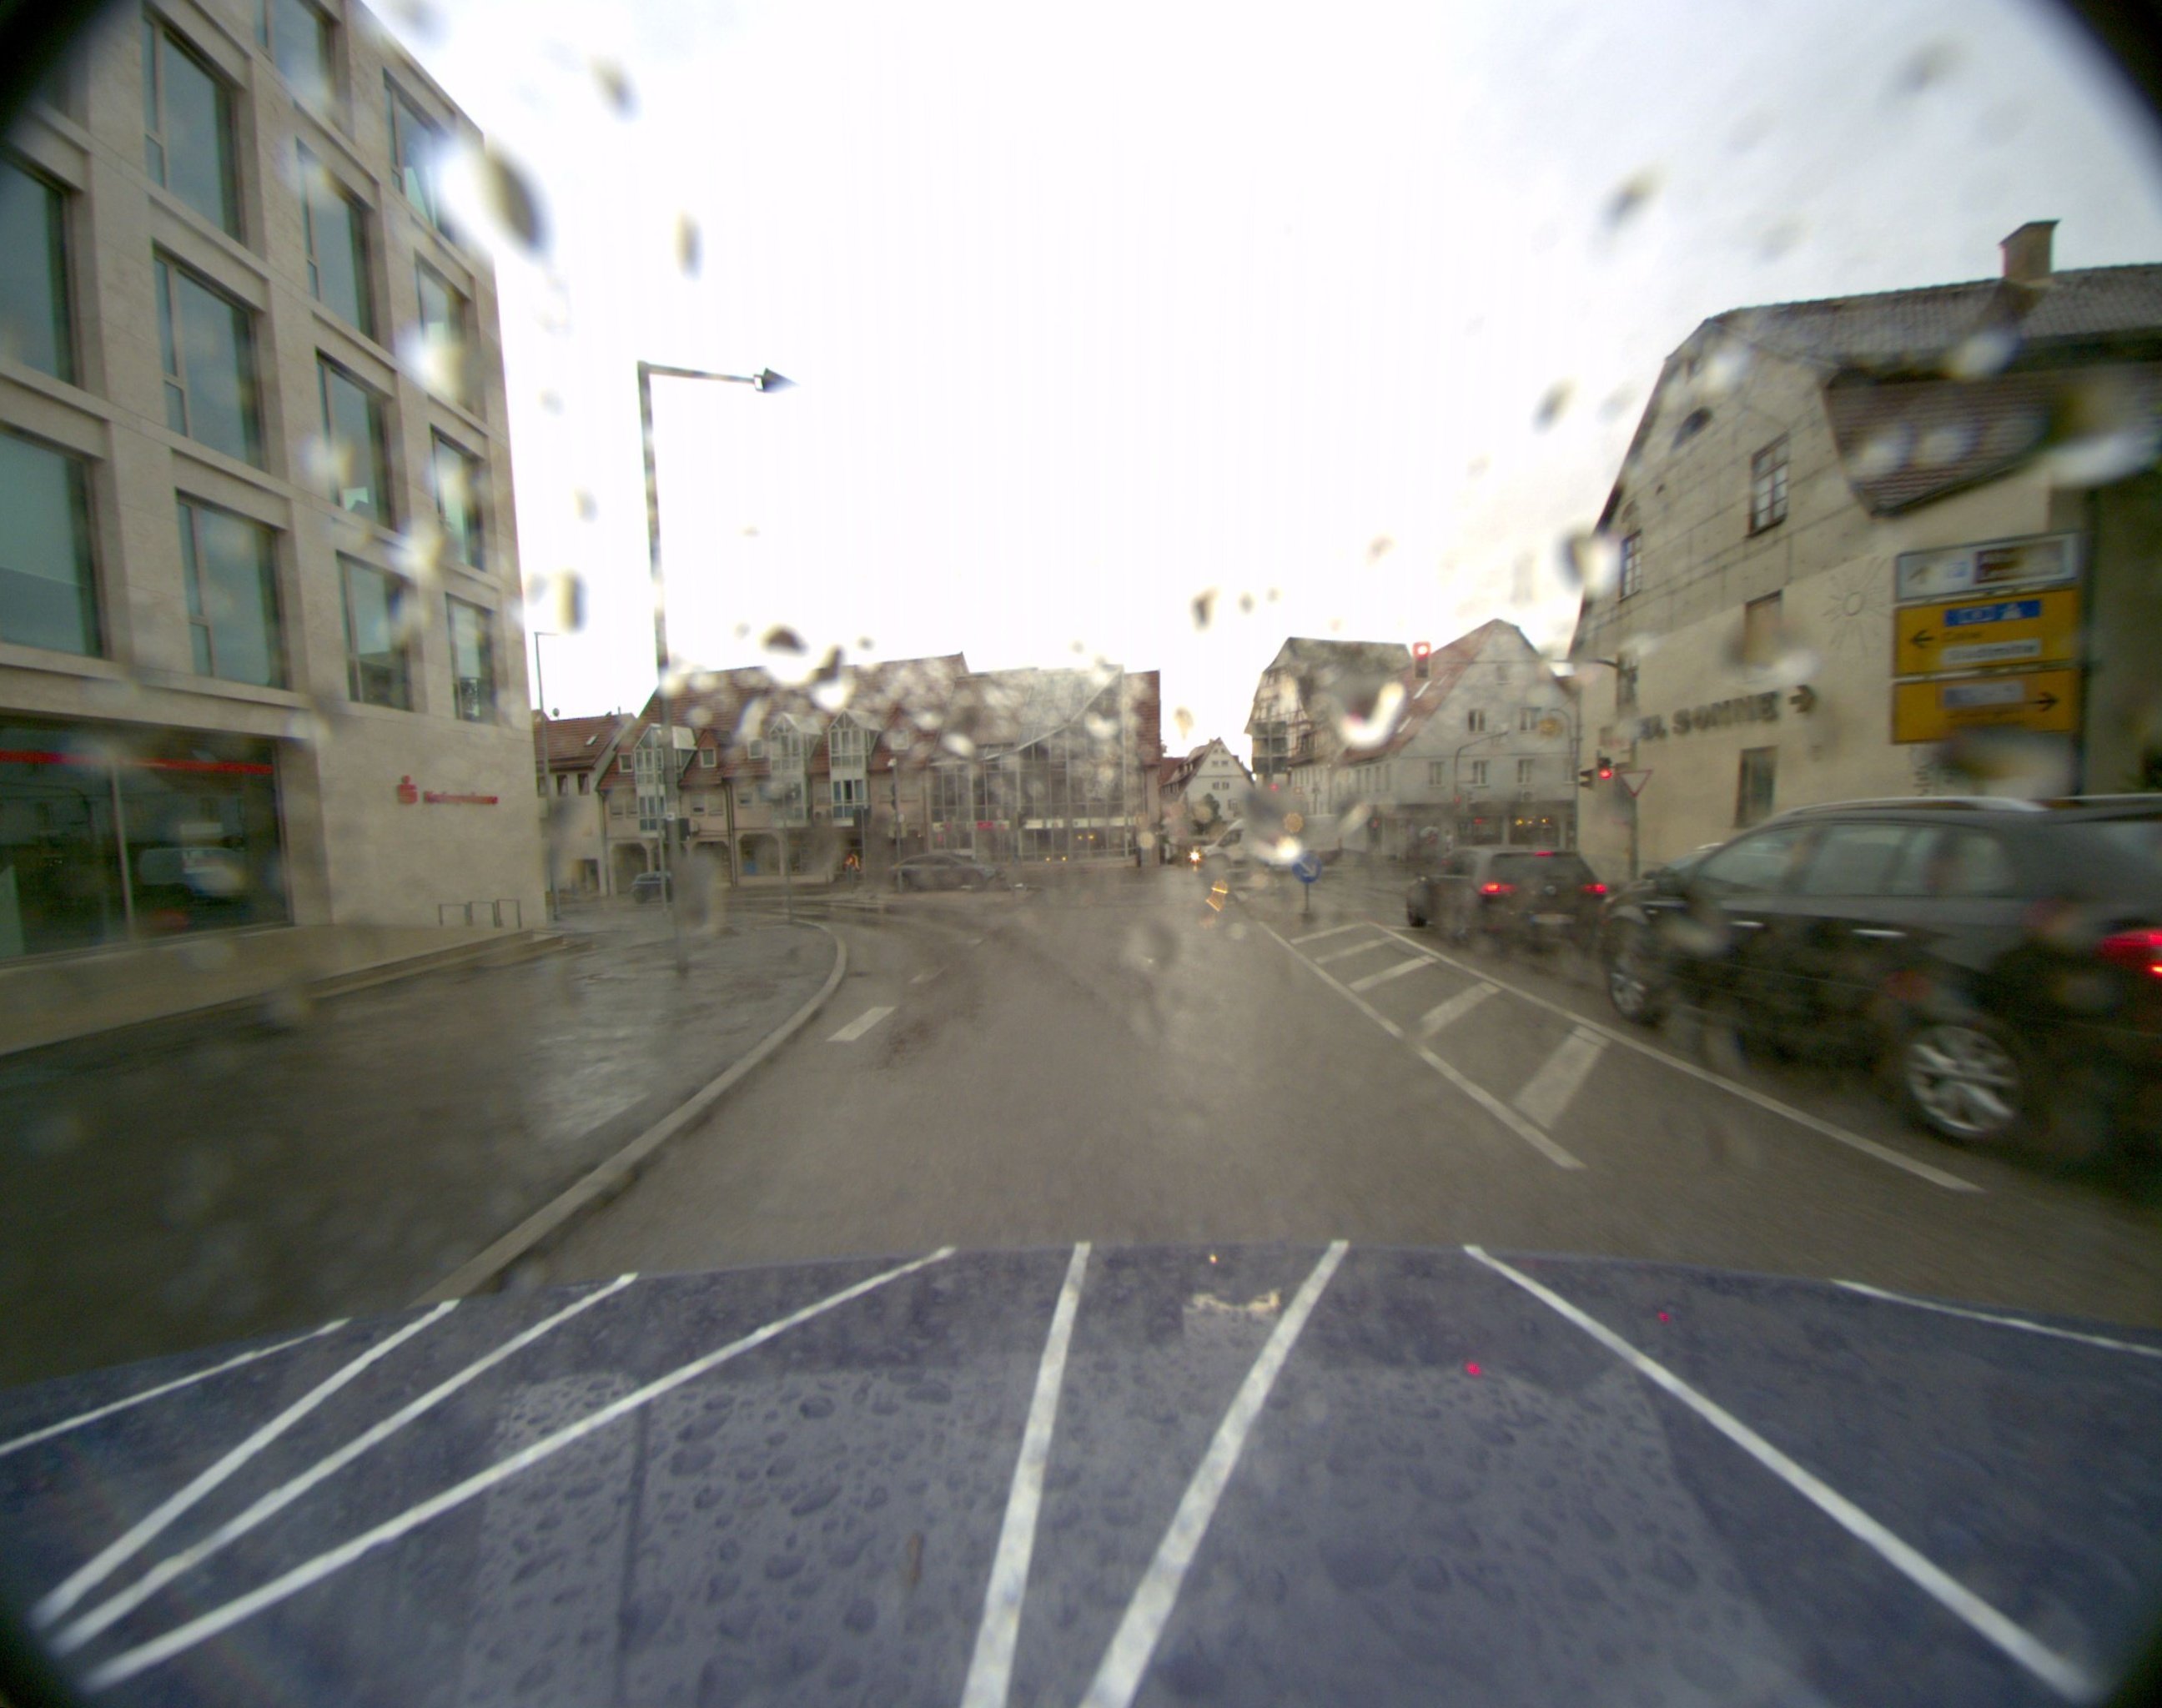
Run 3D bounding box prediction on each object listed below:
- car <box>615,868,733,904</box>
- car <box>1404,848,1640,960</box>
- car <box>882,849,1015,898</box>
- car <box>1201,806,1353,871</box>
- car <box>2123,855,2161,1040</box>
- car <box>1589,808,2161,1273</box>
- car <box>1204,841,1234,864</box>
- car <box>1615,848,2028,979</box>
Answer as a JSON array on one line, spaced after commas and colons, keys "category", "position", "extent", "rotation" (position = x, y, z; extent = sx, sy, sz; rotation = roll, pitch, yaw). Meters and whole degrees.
[{"category": "car", "position": [-19.461, 1.517, 36.325], "extent": [5.022, 1.537, 2.002], "rotation": [-1, 1, 18]}, {"category": "car", "position": [6.368, 0.632, 11.499], "extent": [1.816, 1.356, 3.749], "rotation": [-1, 1, 9]}, {"category": "car", "position": [-5.453, 0.793, 31.421], "extent": [5.023, 1.834, 2.002], "rotation": [-1, 1, 16]}, {"category": "car", "position": [8.858, -0.674, 34.760], "extent": [6.503, 2.673, 2.001], "rotation": [-1, 1, 12]}, {"category": "car", "position": [8.512, 0.696, 3.657], "extent": [1.741, 1.346, 4.062], "rotation": [-1, 1, 8]}, {"category": "car", "position": [5.059, 0.609, 4.476], "extent": [1.851, 1.654, 4.222], "rotation": [-1, 1, 9]}, {"category": "car", "position": [9.965, -0.141, 55.048], "extent": [1.726, 1.538, 4.001], "rotation": [-2, 1, 5]}, {"category": "car", "position": [8.975, 0.614, 9.803], "extent": [1.851, 1.286, 4.035], "rotation": [-1, 1, 9]}]
